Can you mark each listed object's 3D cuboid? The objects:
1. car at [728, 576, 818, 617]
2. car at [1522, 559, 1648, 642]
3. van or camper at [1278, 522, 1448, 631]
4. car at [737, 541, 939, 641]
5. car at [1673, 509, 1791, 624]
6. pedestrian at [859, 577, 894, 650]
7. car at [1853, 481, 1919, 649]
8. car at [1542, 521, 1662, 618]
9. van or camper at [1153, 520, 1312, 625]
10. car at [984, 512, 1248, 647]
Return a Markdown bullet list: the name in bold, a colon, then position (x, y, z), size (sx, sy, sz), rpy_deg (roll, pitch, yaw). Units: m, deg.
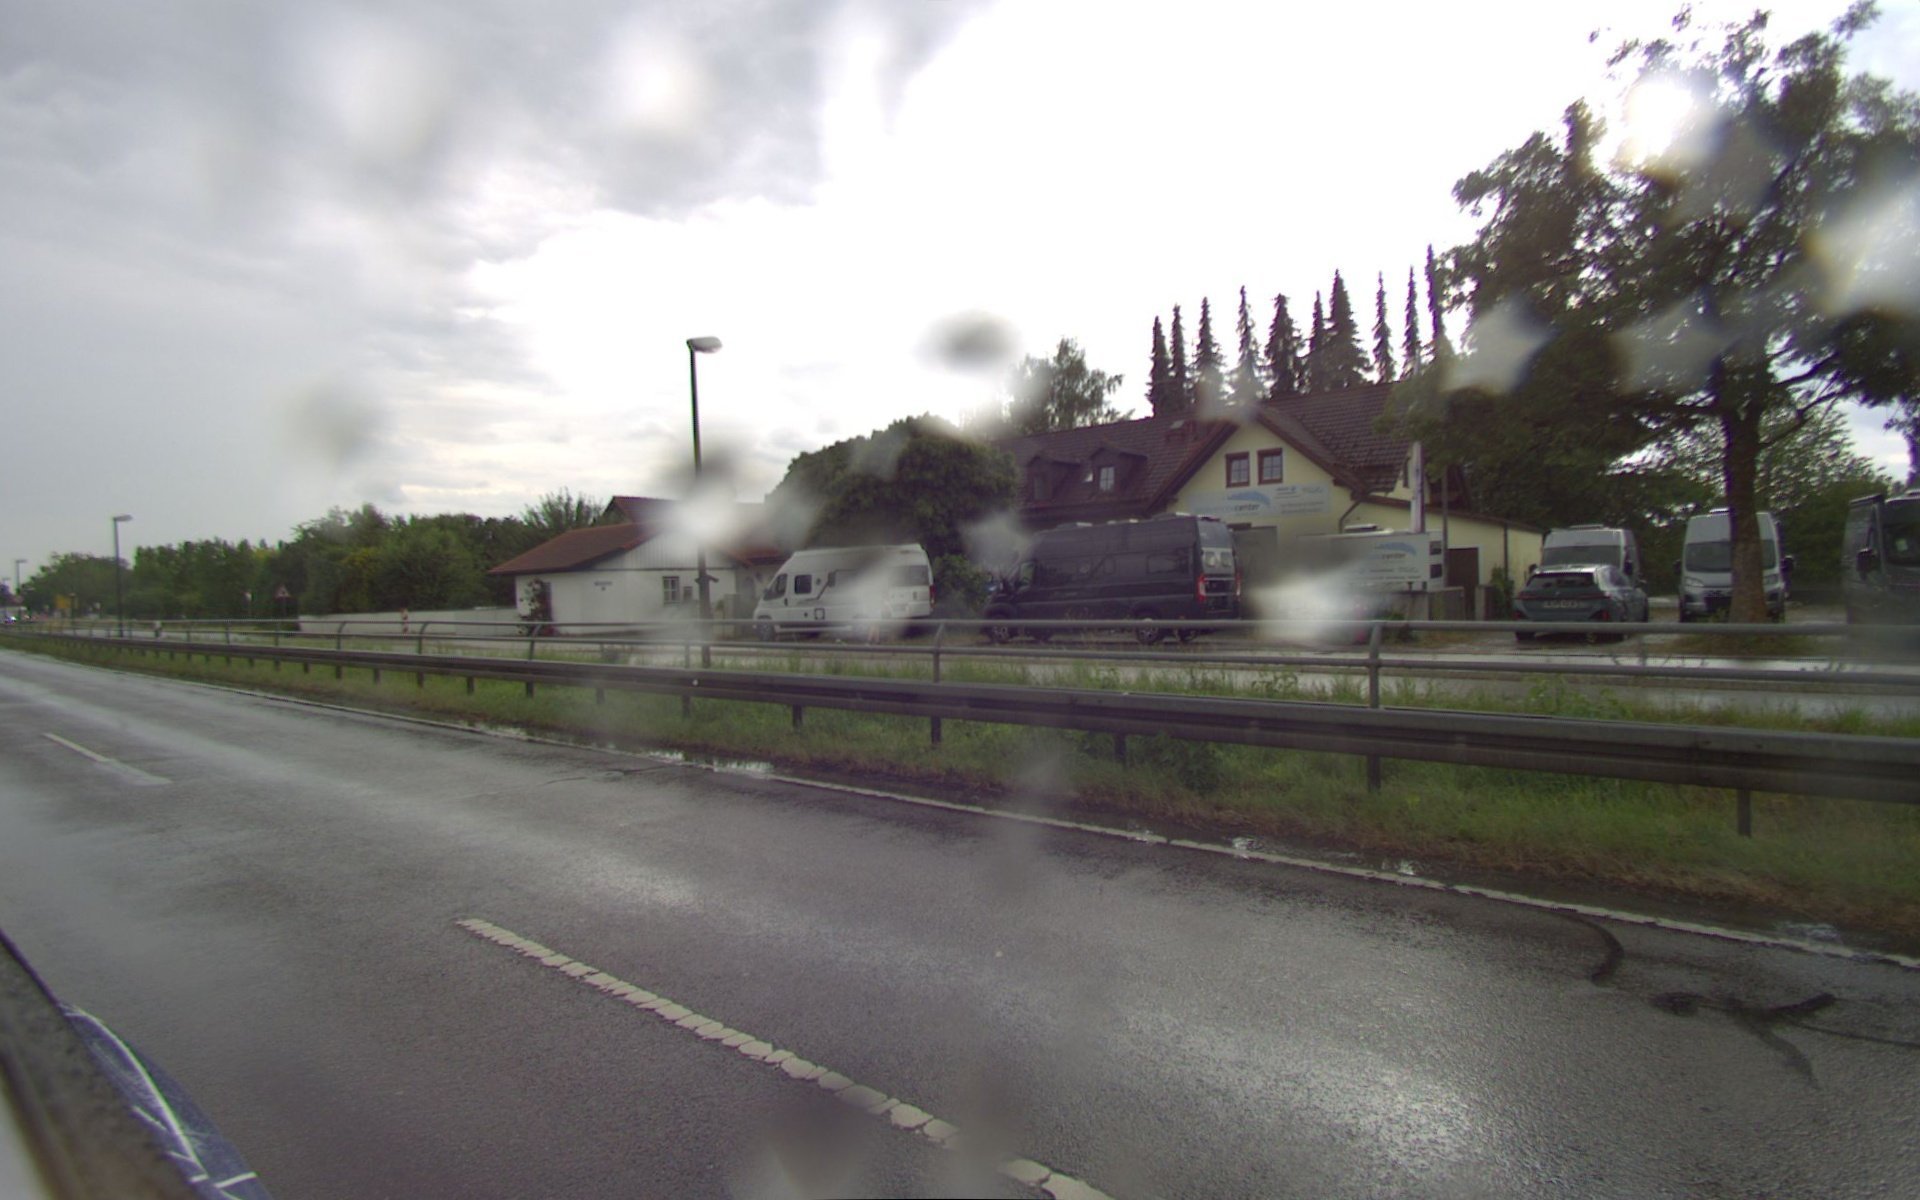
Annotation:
- **car**: position (-6.774, -0.103, 36.523), size (3.268, 1.366, 1.434), rpy_deg (-1, 1, 41)
- **car**: position (12.896, -0.036, 20.792), size (1.540, 1.507, 3.843), rpy_deg (-1, 1, 42)
- **van or camper**: position (11.079, -0.651, 27.475), size (2.559, 2.611, 6.163), rpy_deg (-2, 1, 38)
- **car**: position (-3.625, -0.219, 29.159), size (6.015, 2.600, 2.214), rpy_deg (-1, 1, 41)
- **car**: position (19.738, -0.833, 25.743), size (2.089, 2.557, 6.031), rpy_deg (-2, 1, 40)
- **pedestrian**: position (-2.034, 0.320, 24.650), size (0.509, 1.723, 0.651), rpy_deg (-2, 1, -42)
- **car**: position (16.514, -0.629, 16.864), size (1.997, 2.520, 5.135), rpy_deg (-2, 1, 37)
- **car**: position (18.297, -0.858, 28.685), size (2.089, 2.435, 6.031), rpy_deg (-2, 1, 40)
- **van or camper**: position (8.378, -0.837, 30.657), size (2.431, 2.822, 5.995), rpy_deg (-2, 1, 38)
- **car**: position (3.521, -0.406, 23.523), size (5.565, 2.783, 2.361), rpy_deg (-2, 1, 38)
